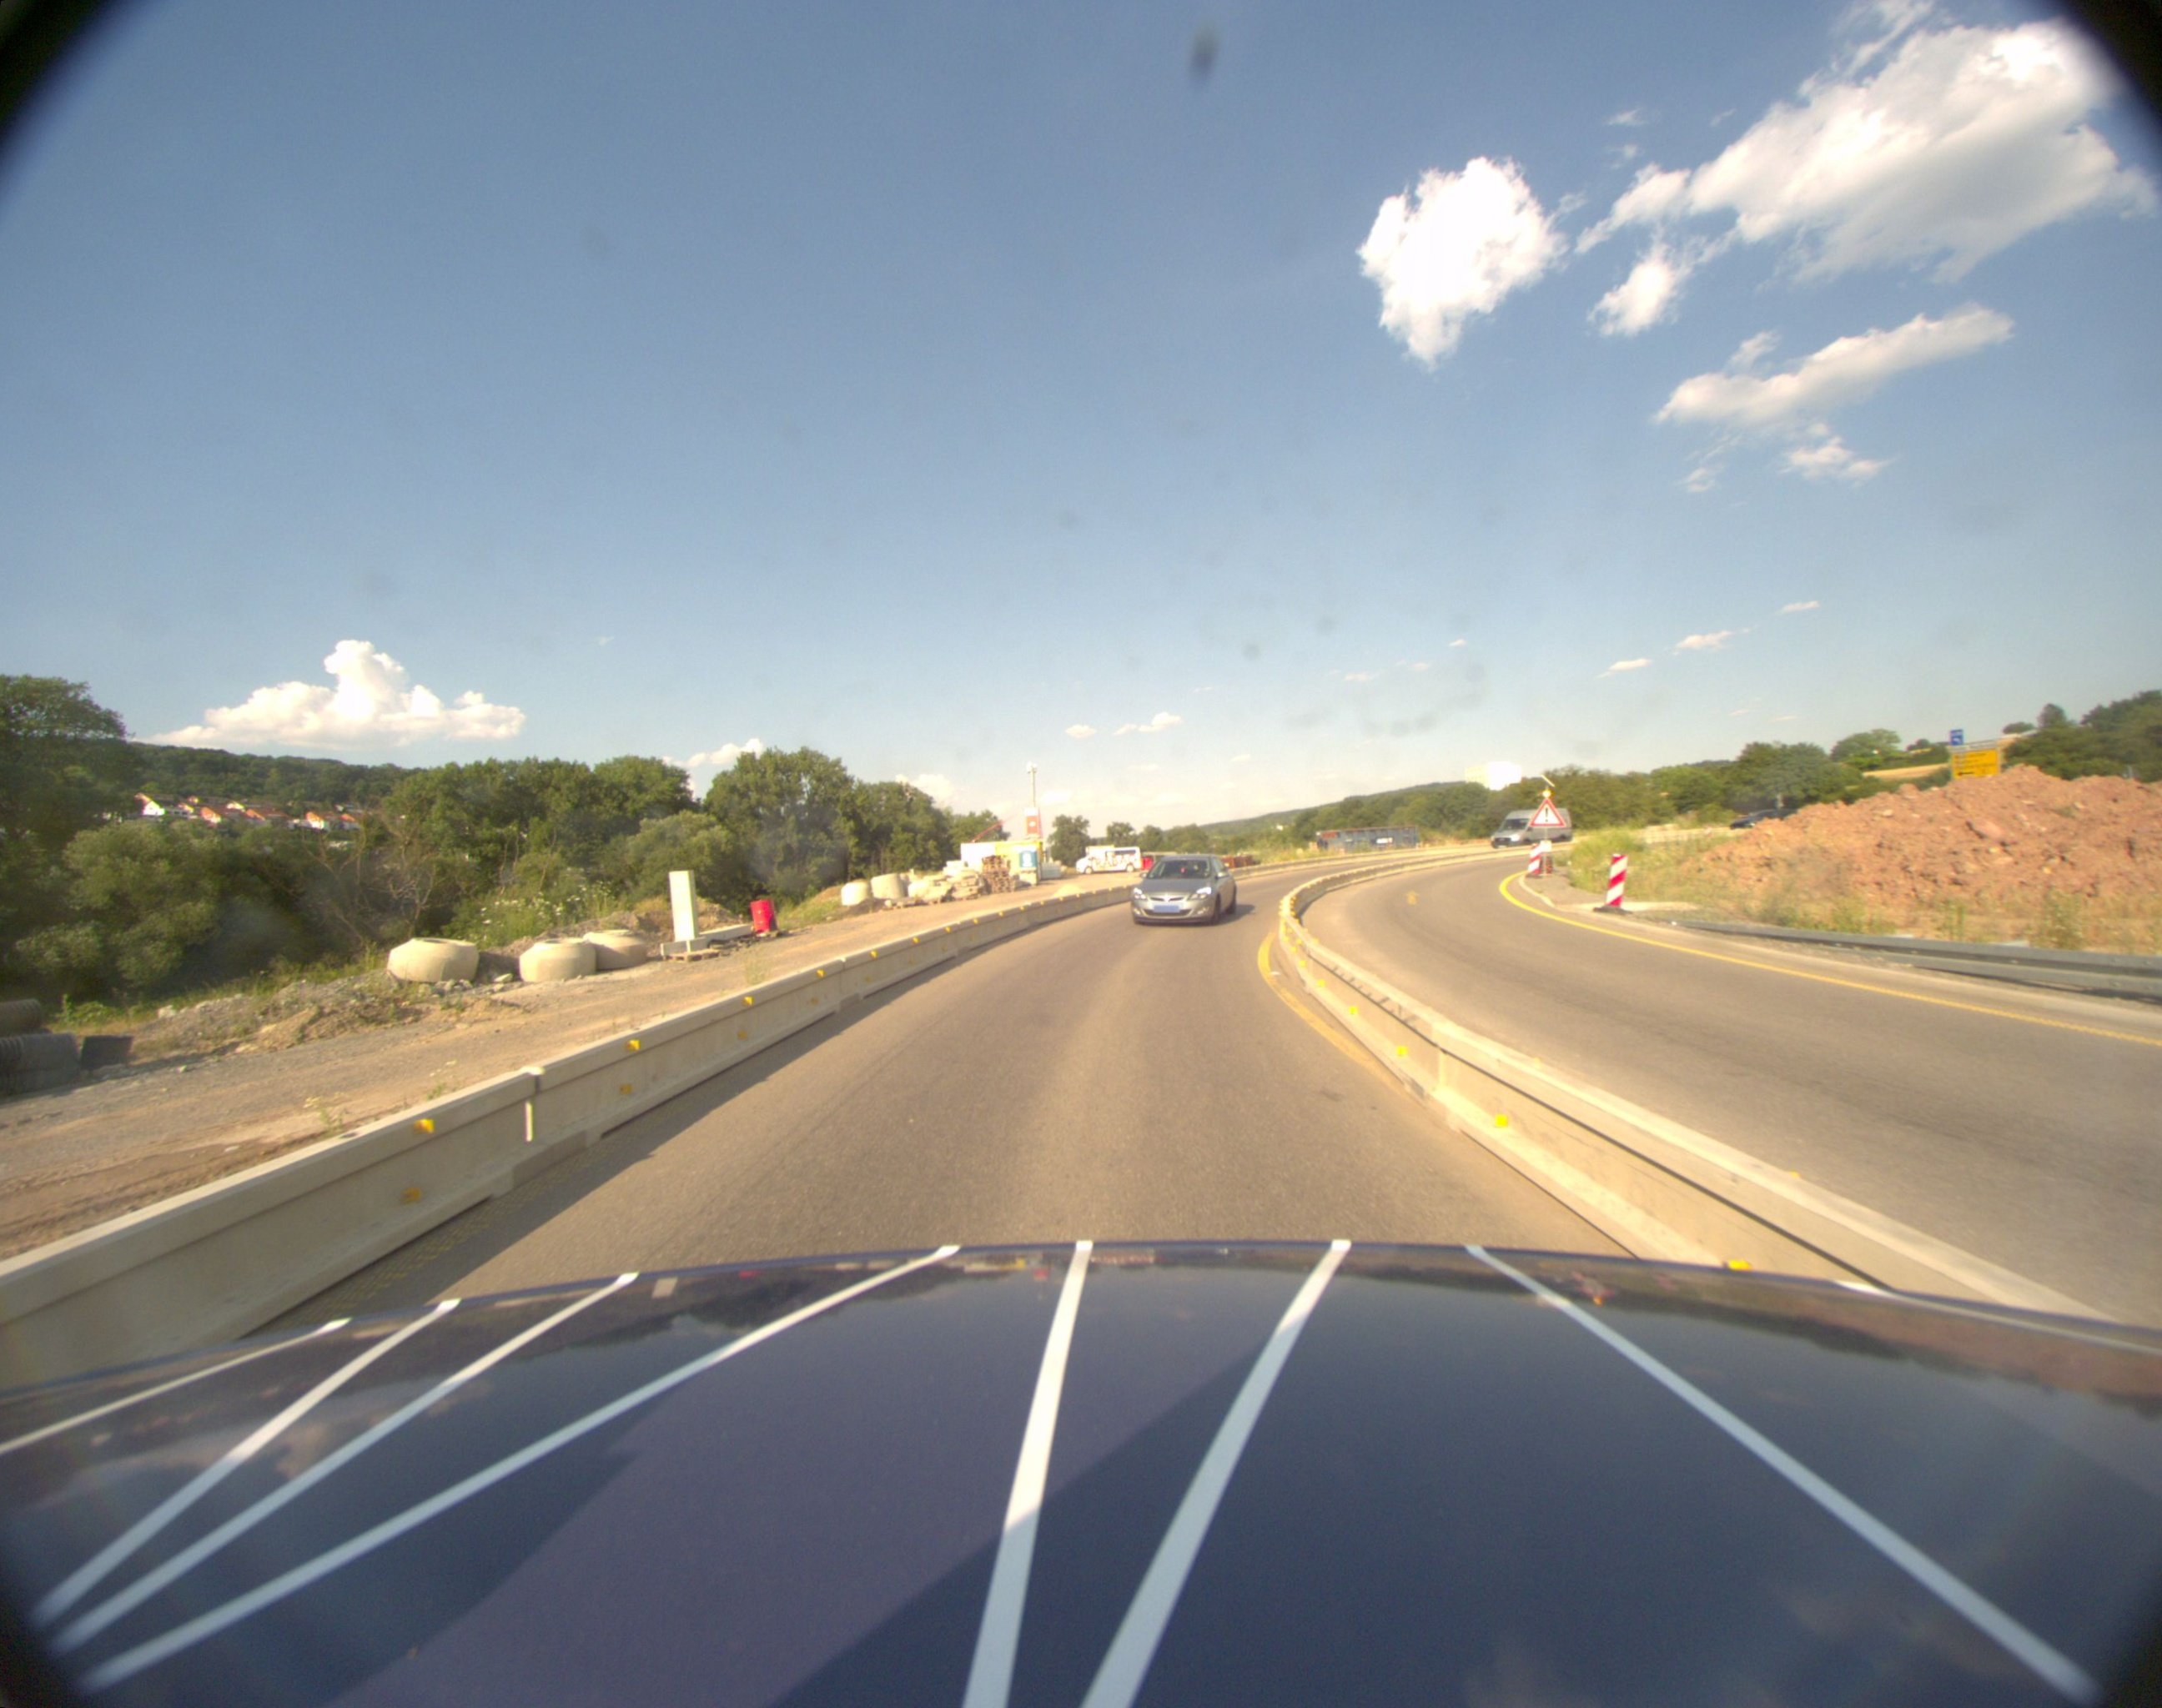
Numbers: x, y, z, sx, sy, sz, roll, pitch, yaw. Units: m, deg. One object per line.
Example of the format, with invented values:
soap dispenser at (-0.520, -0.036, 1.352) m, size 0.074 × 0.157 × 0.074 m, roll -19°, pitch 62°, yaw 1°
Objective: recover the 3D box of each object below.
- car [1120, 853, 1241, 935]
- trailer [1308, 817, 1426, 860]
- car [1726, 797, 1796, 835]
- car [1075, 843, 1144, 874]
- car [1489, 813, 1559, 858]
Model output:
car at (2.334, 0.795, 16.825) m, size 1.745 × 1.476 × 4.257 m, roll -2°, pitch 1°, yaw 20°
trailer at (19.615, -1.081, 52.118) m, size 7.234 × 2.400 × 3.009 m, roll -4°, pitch 0°, yaw -21°
car at (49.665, -2.767, 55.493) m, size 4.001 × 2.389 × 1.874 m, roll -4°, pitch 1°, yaw -15°
car at (2.254, 0.349, 61.726) m, size 5.316 × 2.067 × 2.487 m, roll -4°, pitch 1°, yaw -1°
car at (28.260, -1.210, 48.369) m, size 5.807 × 2.486 × 1.913 m, roll -4°, pitch 1°, yaw -40°
